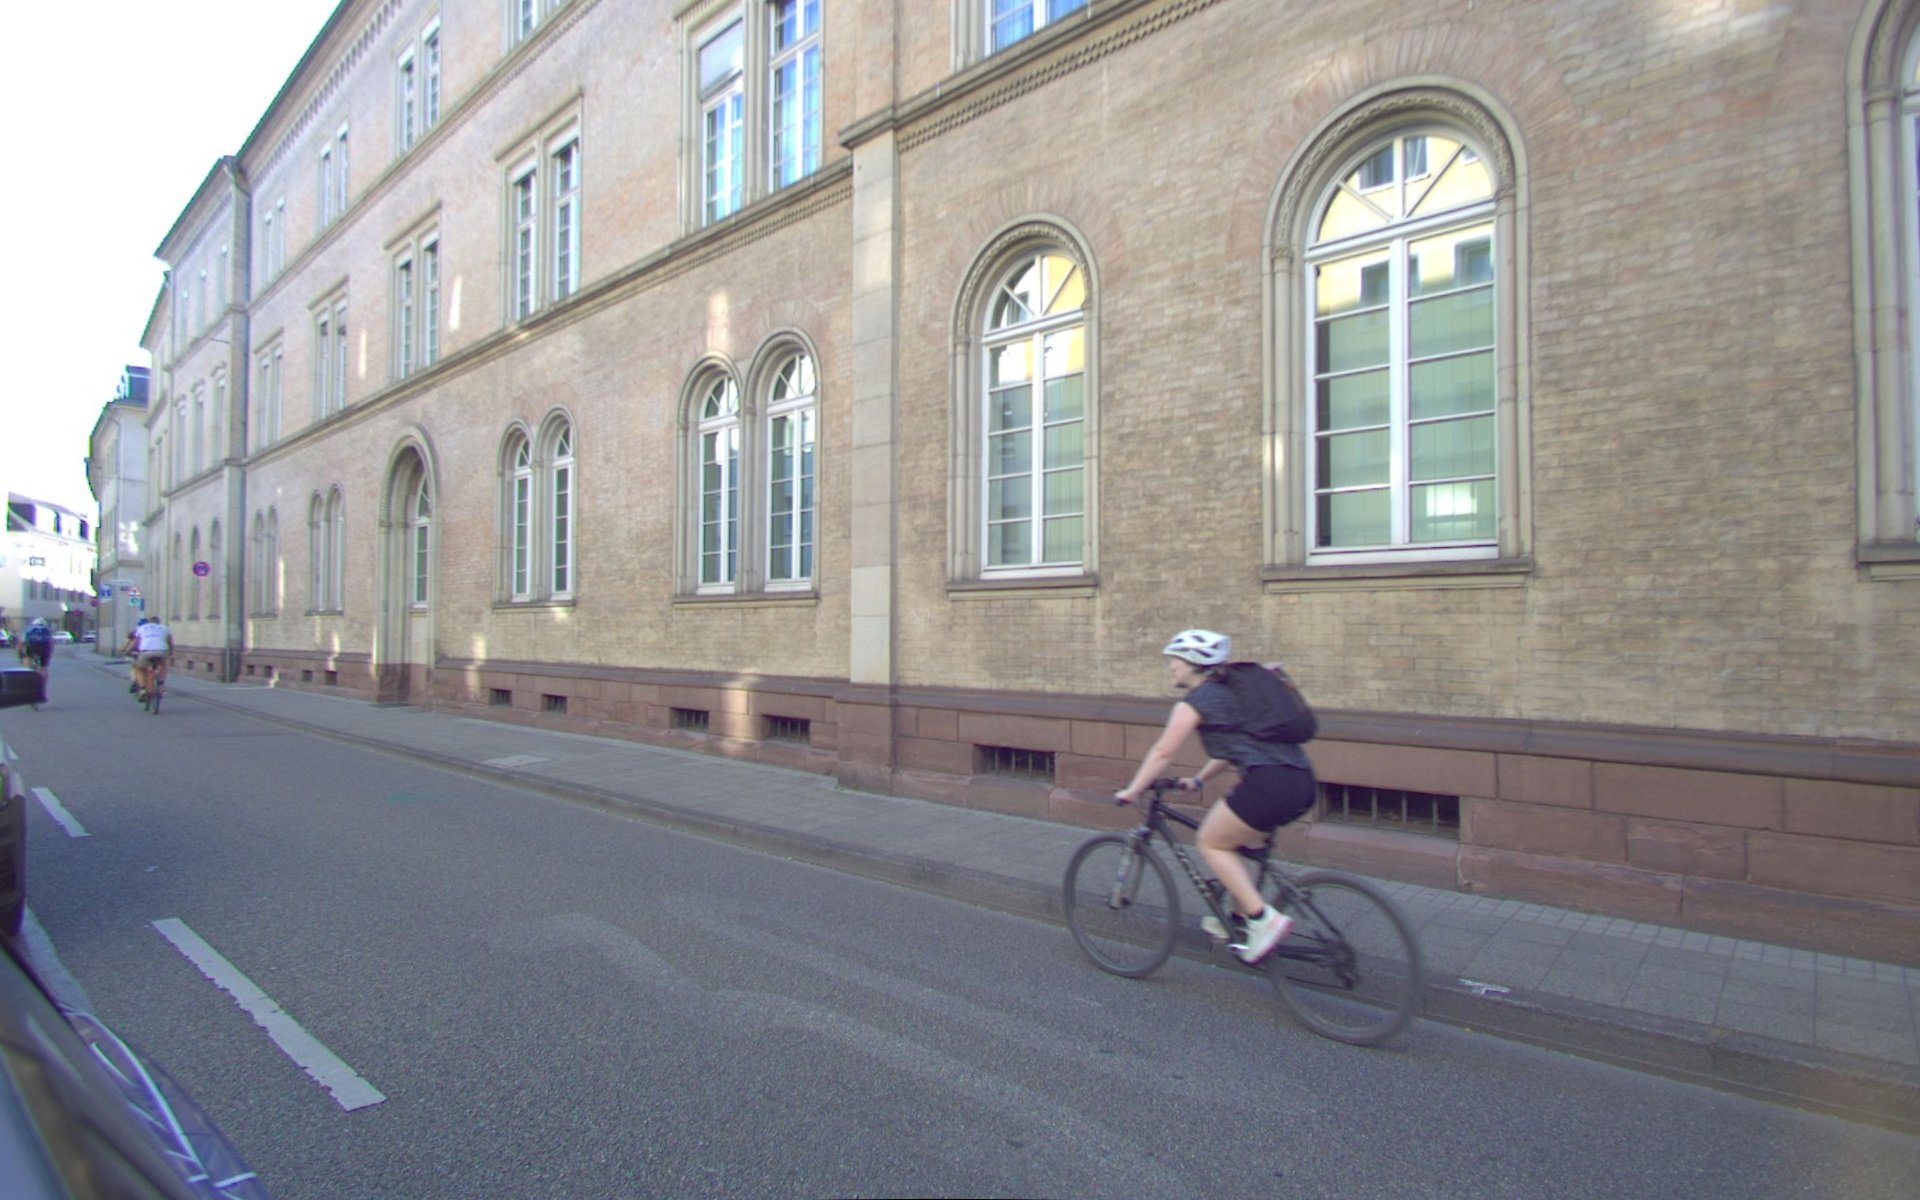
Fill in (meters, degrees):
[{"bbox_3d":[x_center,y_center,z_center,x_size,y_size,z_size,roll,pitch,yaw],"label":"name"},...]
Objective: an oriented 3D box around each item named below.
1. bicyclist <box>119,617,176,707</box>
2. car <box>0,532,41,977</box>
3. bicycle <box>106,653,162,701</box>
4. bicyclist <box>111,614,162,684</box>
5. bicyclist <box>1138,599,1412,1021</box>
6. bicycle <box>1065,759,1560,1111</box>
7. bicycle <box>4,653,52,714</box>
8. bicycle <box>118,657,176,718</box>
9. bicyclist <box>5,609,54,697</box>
[{"bbox_3d":[-14.677,1.121,18.284,0.642,1.579,0.962,5,-5,-43],"label":"bicyclist"},{"bbox_3d":[-6.519,0.686,5.383,5.338,1.850,1.795,-2,-3,41],"label":"car"},{"bbox_3d":[-18.565,1.717,22.730,1.875,1.014,0.643,-2,-5,42],"label":"bicycle"},{"bbox_3d":[-18.494,1.105,22.723,1.111,1.520,0.643,-2,-5,42],"label":"bicyclist"},{"bbox_3d":[1.290,0.769,4.153,0.871,1.487,0.678,-2,-5,41],"label":"bicyclist"},{"bbox_3d":[1.346,1.203,4.093,1.765,0.931,0.678,-2,-5,41],"label":"bicycle"},{"bbox_3d":[-16.634,1.467,18.057,0.538,1.014,1.758,5,-5,-43],"label":"bicycle"},{"bbox_3d":[-14.729,1.566,18.314,0.642,1.014,1.808,5,-5,-43],"label":"bicycle"},{"bbox_3d":[-16.808,0.953,18.279,0.538,1.545,0.870,5,-5,-43],"label":"bicyclist"}]
